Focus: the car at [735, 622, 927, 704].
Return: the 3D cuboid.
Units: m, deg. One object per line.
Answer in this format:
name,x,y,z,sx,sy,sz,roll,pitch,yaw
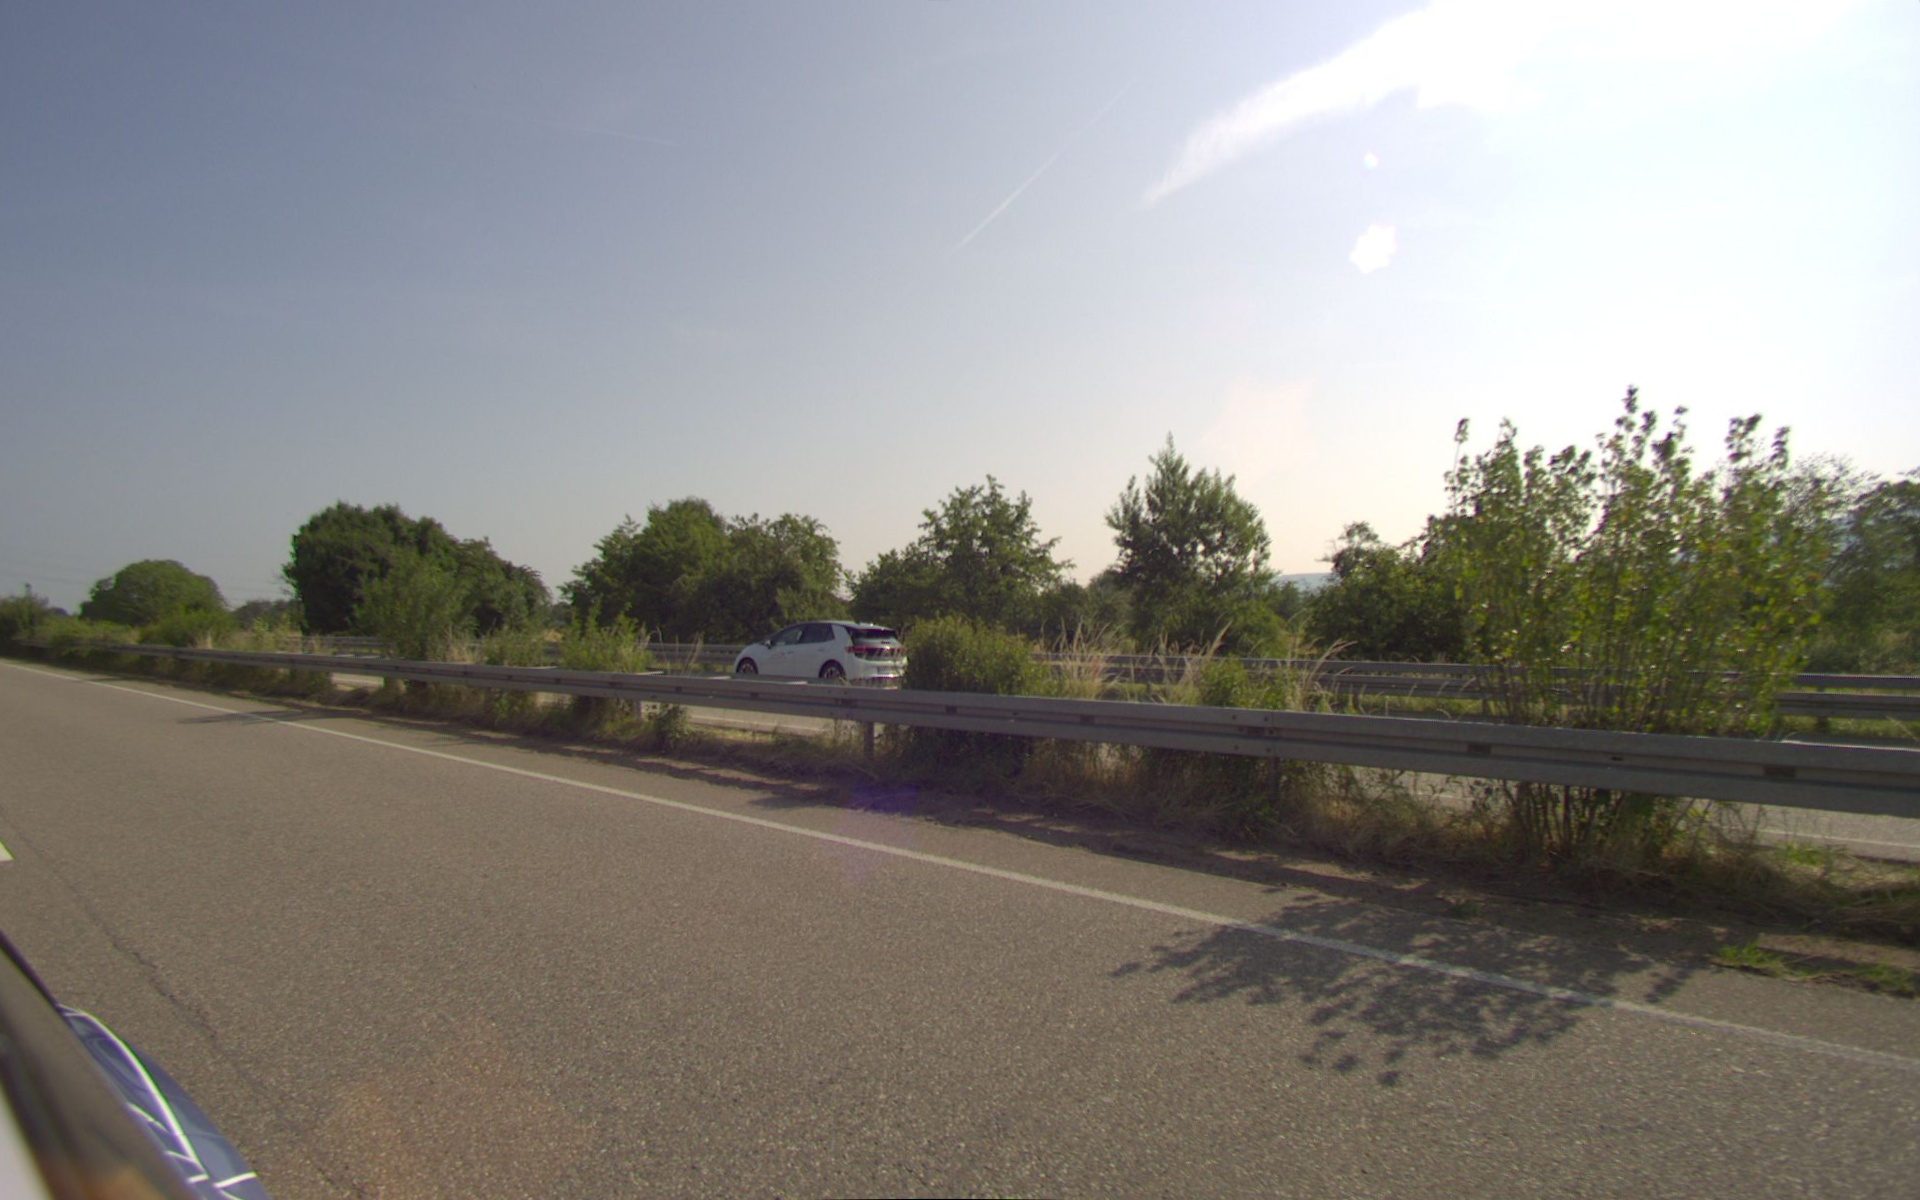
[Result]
car,-2.811,1.253,21.446,4.186,1.538,1.675,-1,-1,41
